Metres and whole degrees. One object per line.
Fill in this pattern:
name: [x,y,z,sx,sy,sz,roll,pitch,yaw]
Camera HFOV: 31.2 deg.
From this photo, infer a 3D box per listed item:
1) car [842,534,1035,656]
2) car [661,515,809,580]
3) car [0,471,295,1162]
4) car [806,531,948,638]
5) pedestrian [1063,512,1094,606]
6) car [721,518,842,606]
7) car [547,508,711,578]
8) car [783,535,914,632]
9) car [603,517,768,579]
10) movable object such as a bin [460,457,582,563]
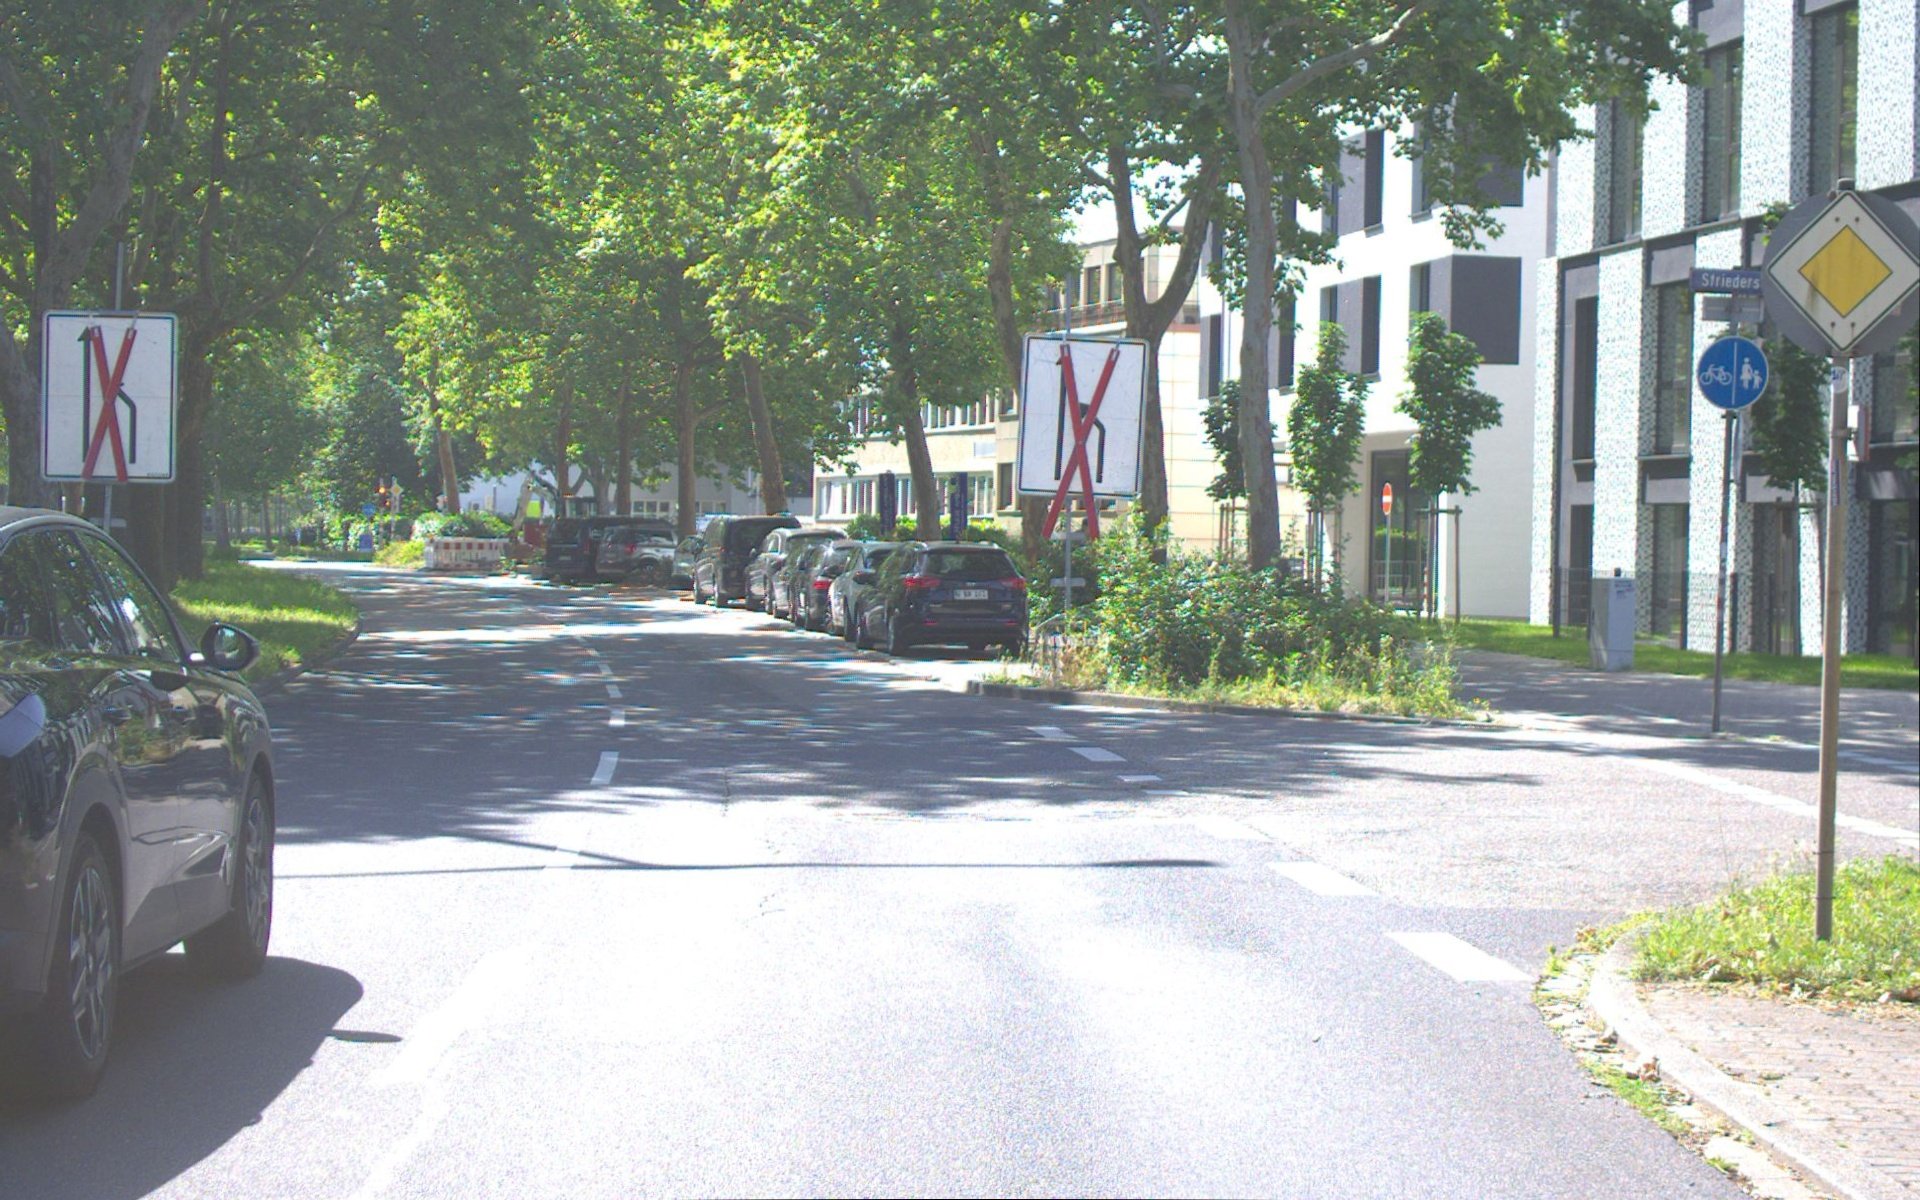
car: [-0.340,-0.113,45.444,1.706,1.482,4.720,0,2,-11]
car: [-5.836,-1.365,89.043,3.551,1.634,1.660,1,1,-14]
car: [-3.313,0.497,10.574,1.872,1.690,4.436,0,1,-3]
car: [-1.277,-0.264,51.337,1.706,1.482,4.102,1,1,-7]
pedestrian: [2.286,-0.793,66.321,0.475,1.802,0.637,1,1,-8]
car: [-3.599,-0.792,68.609,1.706,1.664,4.535,1,1,-12]
car: [-9.124,-1.579,94.847,4.099,1.873,1.785,0,2,-29]
car: [-1.858,-0.300,56.146,1.706,1.450,4.657,1,1,-7]
car: [-7.438,-1.411,93.269,4.099,1.627,1.713,0,2,-27]
movable object such as a bin: [-13.625,-2.787,106.501,2.328,3.230,3.430,0,2,-37]
